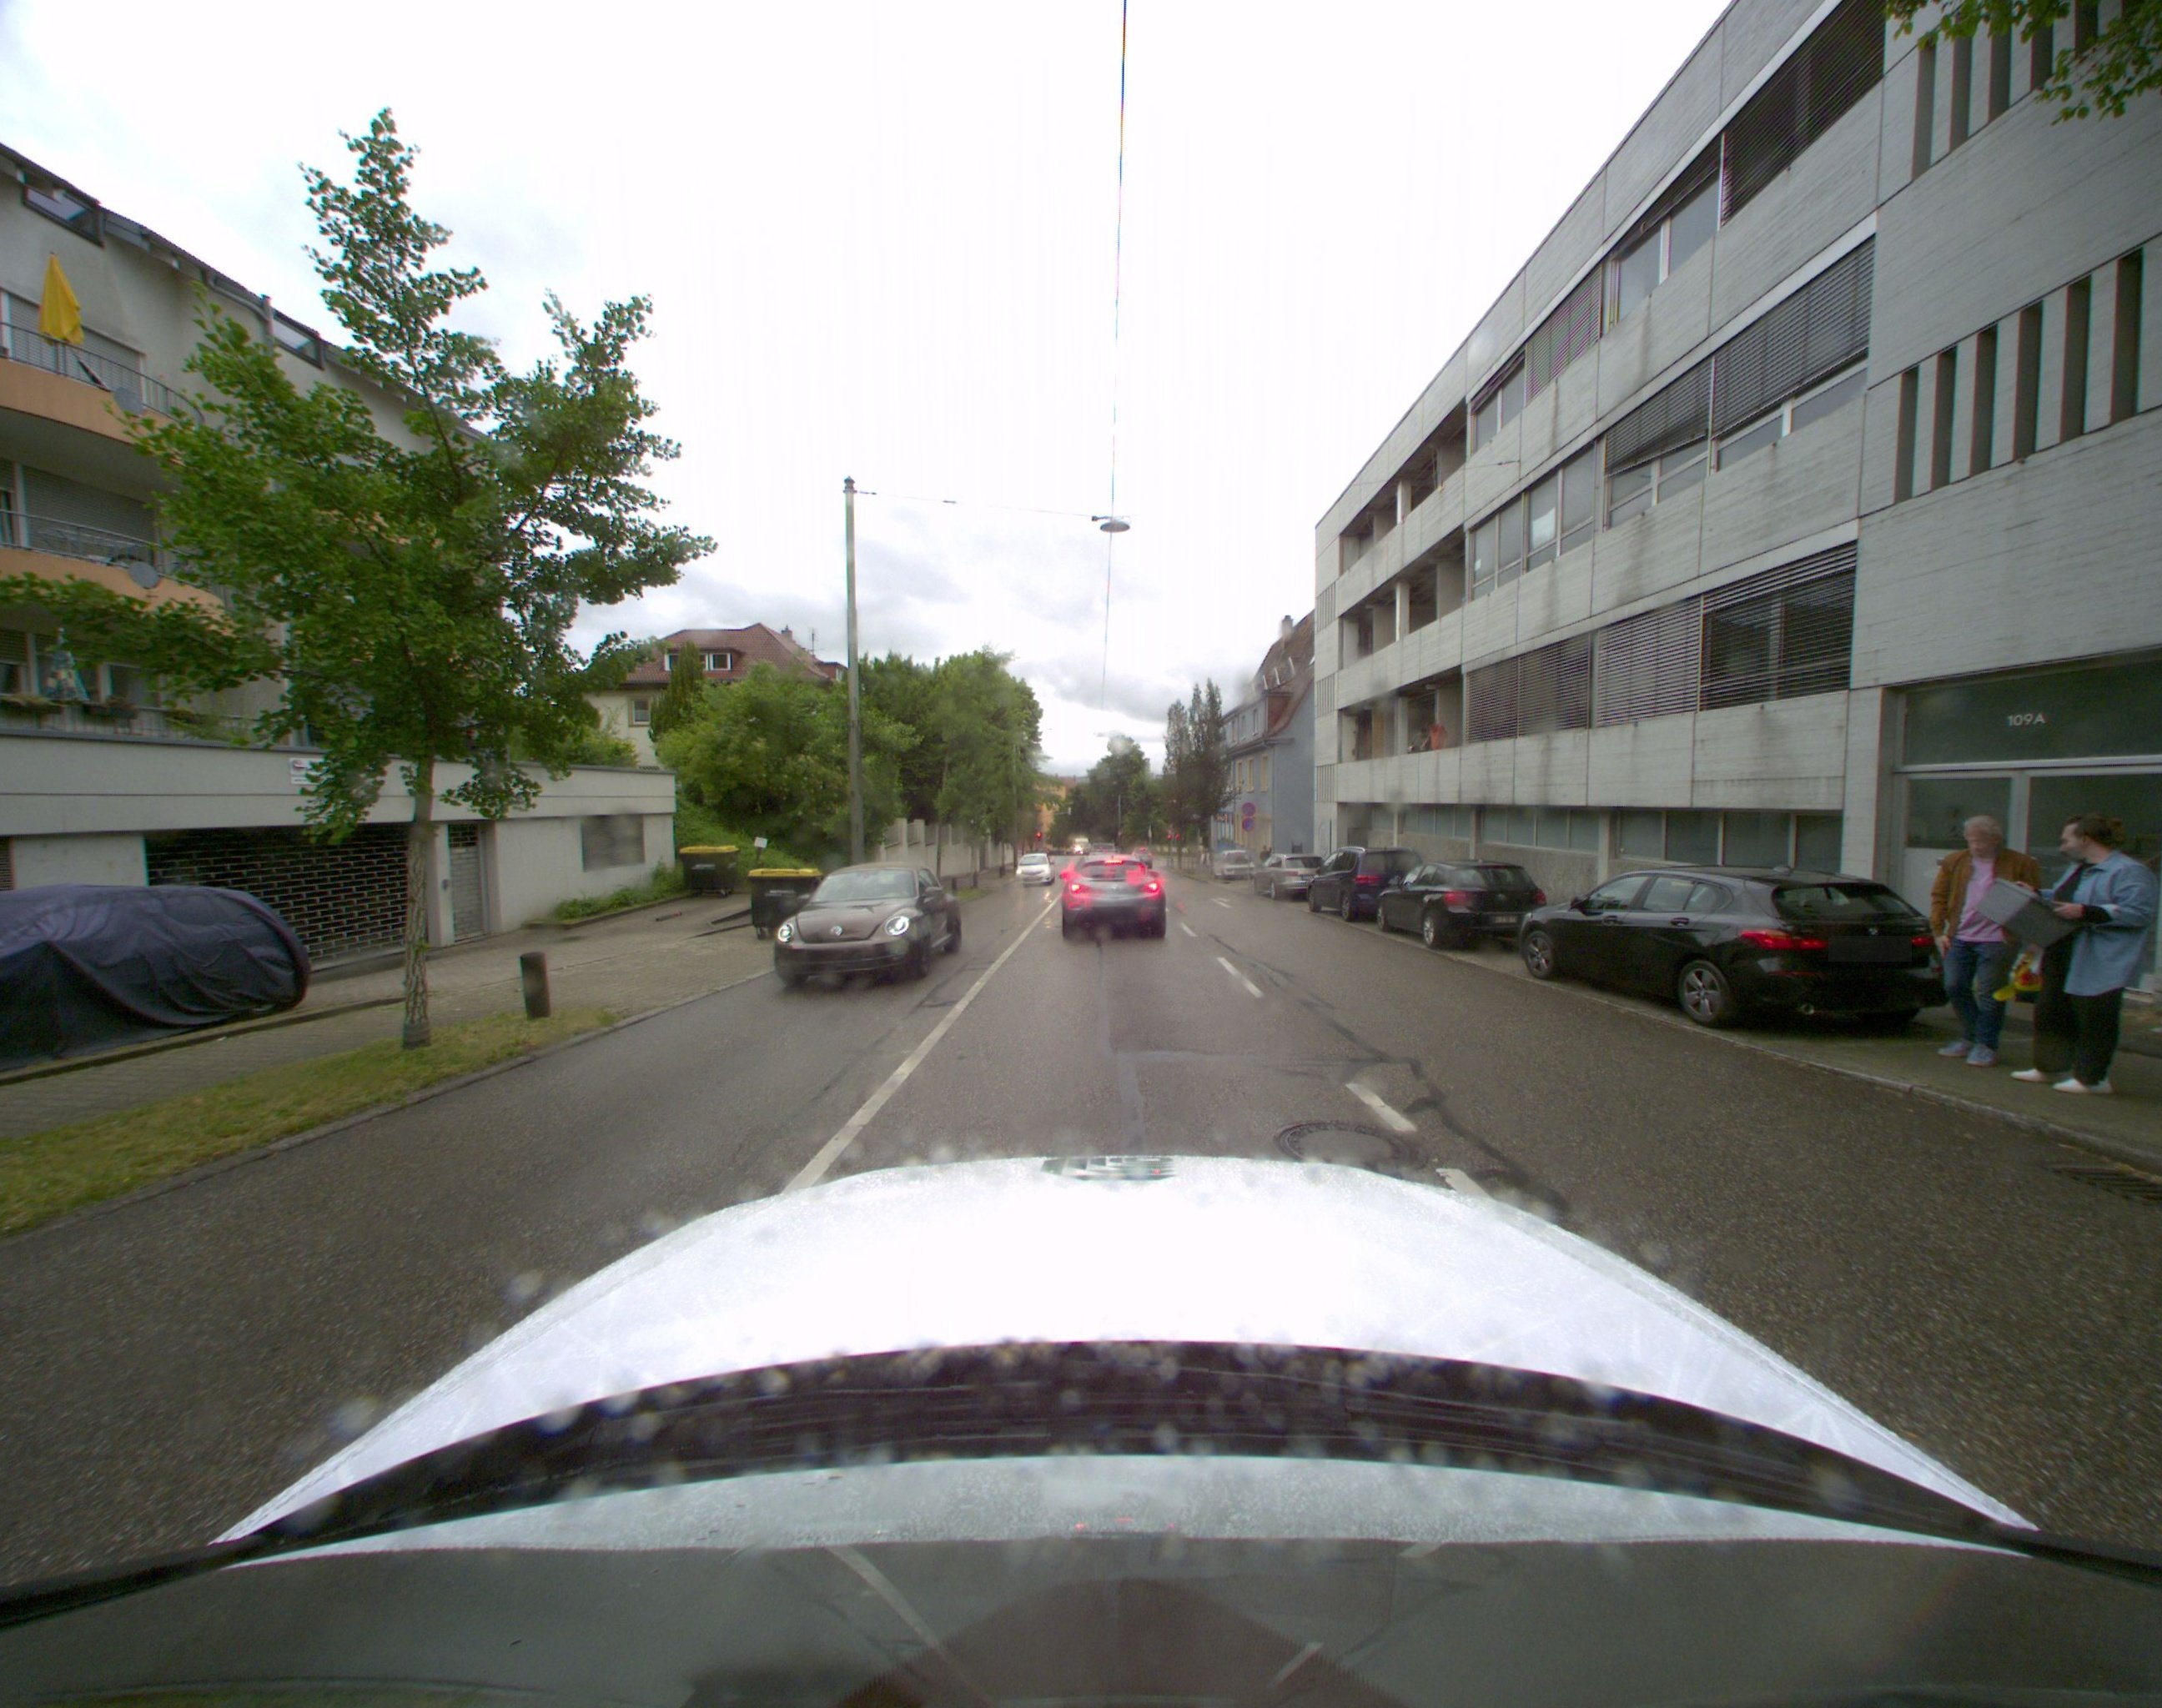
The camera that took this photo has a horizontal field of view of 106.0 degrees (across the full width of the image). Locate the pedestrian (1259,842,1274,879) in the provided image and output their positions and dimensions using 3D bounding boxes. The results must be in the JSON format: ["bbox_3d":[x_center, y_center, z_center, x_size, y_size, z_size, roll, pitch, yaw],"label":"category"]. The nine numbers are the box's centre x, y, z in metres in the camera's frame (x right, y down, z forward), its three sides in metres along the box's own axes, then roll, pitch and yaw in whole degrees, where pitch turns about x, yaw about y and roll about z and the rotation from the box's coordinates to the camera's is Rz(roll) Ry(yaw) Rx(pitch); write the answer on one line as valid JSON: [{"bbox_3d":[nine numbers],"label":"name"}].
[{"bbox_3d":[9.118,0.328,40.099,0.643,1.784,0.542,0,1,2],"label":"pedestrian"}]

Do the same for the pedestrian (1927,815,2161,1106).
[{"bbox_3d":[6.259,0.633,5.267,0.731,1.723,0.766,-3,1,3],"label":"pedestrian"}]

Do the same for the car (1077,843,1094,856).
[{"bbox_3d":[0.599,-0.622,106.173,1.986,1.536,4.311,2,1,1],"label":"car"}]

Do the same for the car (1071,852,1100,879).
[{"bbox_3d":[0.270,0.740,53.717,1.749,1.651,3.999,2,0,-1],"label":"car"}]

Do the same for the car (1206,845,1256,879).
[{"bbox_3d":[7.593,0.386,41.557,1.899,1.570,4.003,-1,1,2],"label":"car"}]

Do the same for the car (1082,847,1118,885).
[{"bbox_3d":[0.981,0.604,43.675,1.763,1.781,3.976,2,1,-1],"label":"car"}]

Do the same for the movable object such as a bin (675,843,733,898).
[{"bbox_3d":[-9.744,0.432,21.065,1.268,1.387,0.488,1,1,-2],"label":"movable object such as a bin"}]

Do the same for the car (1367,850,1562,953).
[{"bbox_3d":[6.507,0.714,14.339,1.675,1.464,4.003,-1,1,2],"label":"car"}]

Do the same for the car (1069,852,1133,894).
[{"bbox_3d":[0.607,0.610,27.664,1.794,1.323,3.994,1,0,-4],"label":"car"}]

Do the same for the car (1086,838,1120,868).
[{"bbox_3d":[1.615,-0.137,59.892,2.325,2.036,4.737,2,1,1],"label":"car"}]

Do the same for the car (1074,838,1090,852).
[{"bbox_3d":[0.101,-1.205,112.406,1.986,1.784,4.002,2,1,2],"label":"car"}]

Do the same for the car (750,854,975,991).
[{"bbox_3d":[-2.817,0.799,11.535,1.843,1.469,4.090,-4,0,2],"label":"car"}]

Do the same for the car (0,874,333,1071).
[{"bbox_3d":[-9.371,1.027,7.265,1.736,1.456,3.882,-4,0,-1],"label":"car"}]

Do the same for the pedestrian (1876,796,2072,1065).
[{"bbox_3d":[6.570,0.523,6.022,0.662,1.836,0.687,-3,1,-6],"label":"pedestrian"}]

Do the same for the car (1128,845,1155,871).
[{"bbox_3d":[5.037,0.310,68.479,1.986,2.036,4.737,2,1,1],"label":"car"}]

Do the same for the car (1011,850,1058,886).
[{"bbox_3d":[-2.172,0.643,39.212,1.816,1.479,3.865,-4,1,2],"label":"car"}]

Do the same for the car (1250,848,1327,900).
[{"bbox_3d":[6.684,0.587,26.623,1.578,1.493,4.293,-1,1,2],"label":"car"}]

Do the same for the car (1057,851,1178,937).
[{"bbox_3d":[0.563,0.658,15.609,1.941,1.432,3.880,0,0,-3],"label":"car"}]

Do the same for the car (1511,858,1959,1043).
[{"bbox_3d":[6.353,0.785,8.590,1.499,1.435,3.999,-1,0,0],"label":"car"}]

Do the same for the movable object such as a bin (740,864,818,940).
[{"bbox_3d":[-5.696,0.894,15.396,1.268,1.387,0.488,1,1,-2],"label":"movable object such as a bin"}]

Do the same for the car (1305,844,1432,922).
[{"bbox_3d":[6.557,0.581,19.037,1.679,1.570,4.003,-1,1,2],"label":"car"}]
